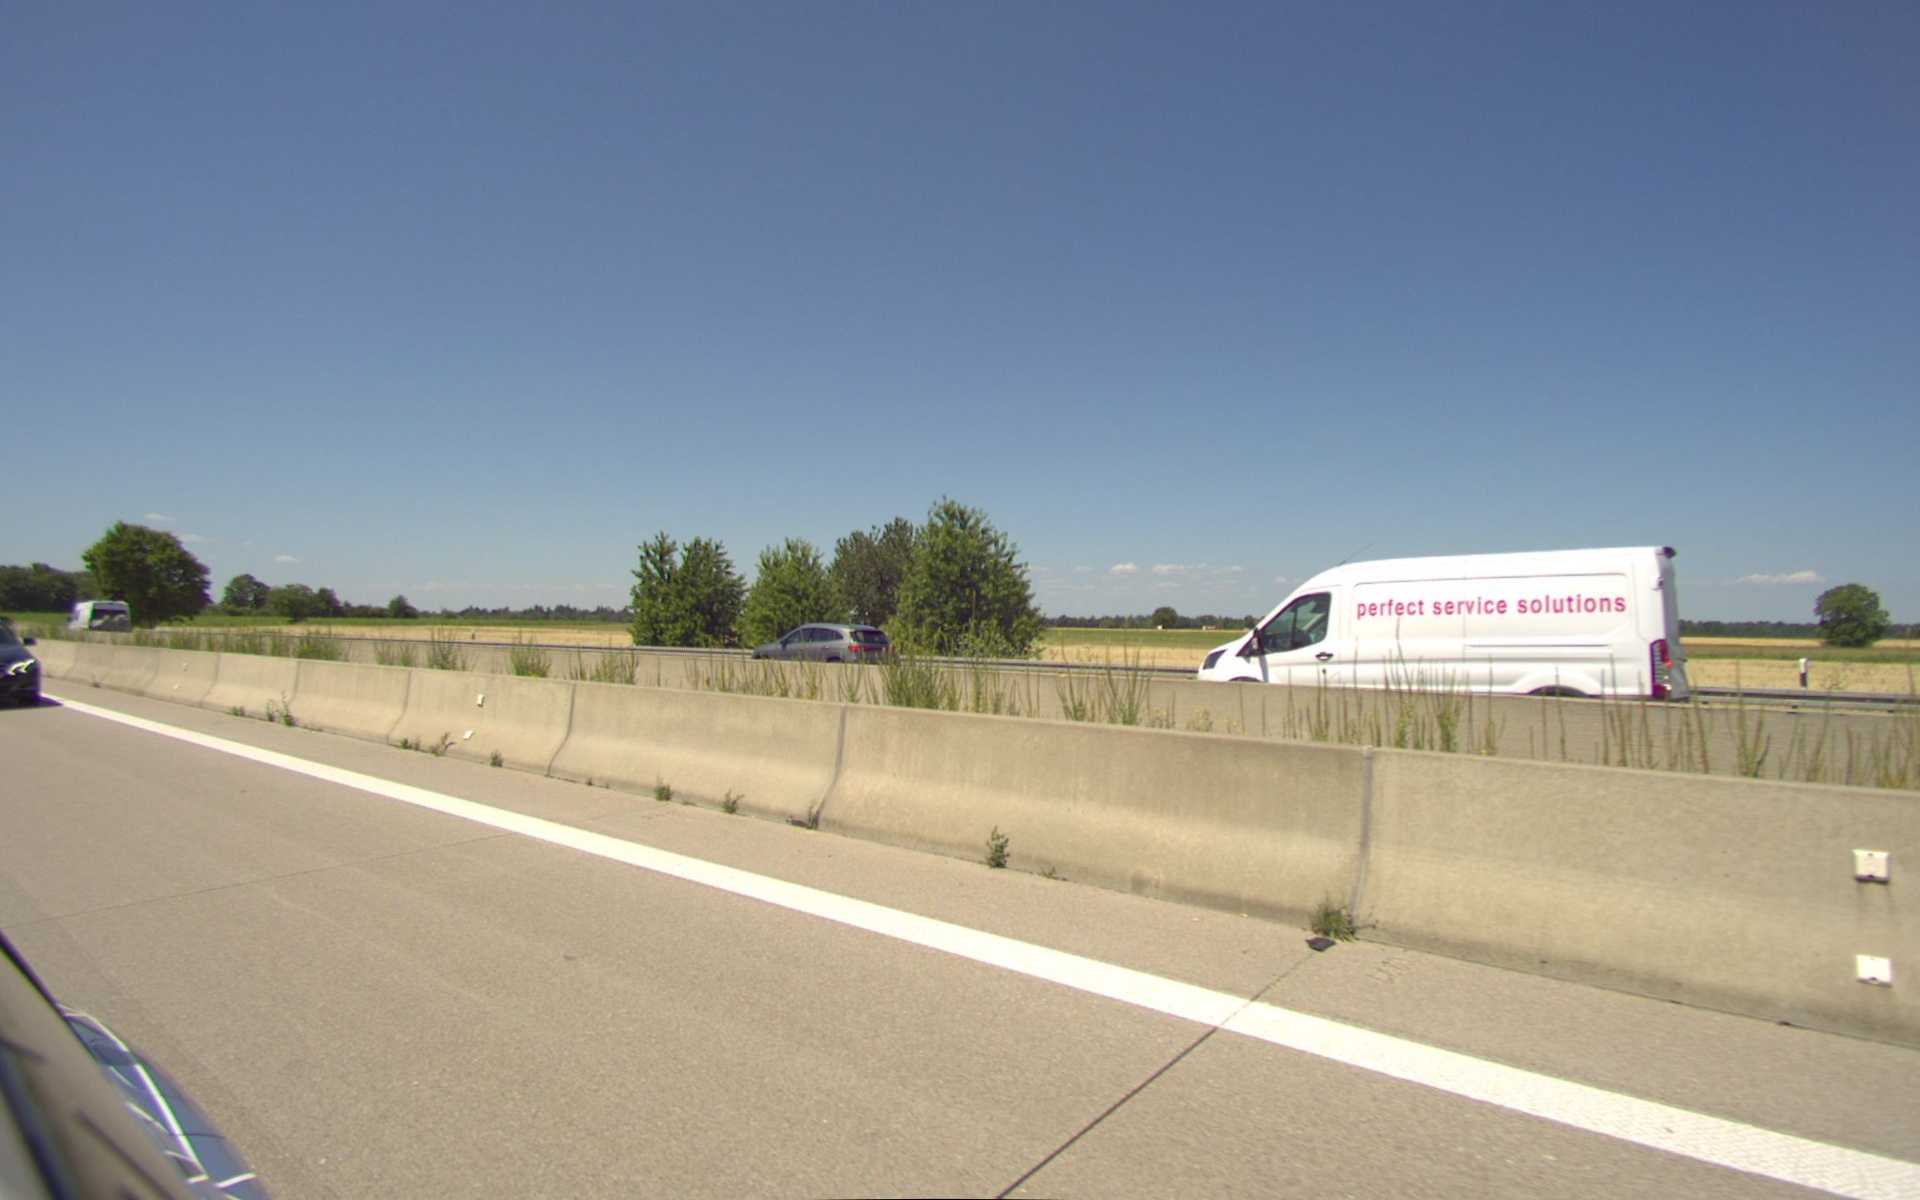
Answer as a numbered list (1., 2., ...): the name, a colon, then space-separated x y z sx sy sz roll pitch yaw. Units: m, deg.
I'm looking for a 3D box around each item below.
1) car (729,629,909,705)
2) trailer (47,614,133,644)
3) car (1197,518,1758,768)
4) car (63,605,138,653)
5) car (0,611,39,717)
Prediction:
1. car: -3.656 1.621 25.680 4.837 1.696 1.736 -1 -1 40
2. trailer: -55.216 1.815 64.109 10.532 1.759 2.215 -1 -3 39
3. car: 6.378 0.479 13.077 6.118 2.539 2.191 -1 -1 39
4. car: -53.391 1.747 62.781 7.062 2.809 2.241 -1 -1 39
5. car: -16.286 0.995 16.151 3.936 1.597 1.825 -1 -1 39
